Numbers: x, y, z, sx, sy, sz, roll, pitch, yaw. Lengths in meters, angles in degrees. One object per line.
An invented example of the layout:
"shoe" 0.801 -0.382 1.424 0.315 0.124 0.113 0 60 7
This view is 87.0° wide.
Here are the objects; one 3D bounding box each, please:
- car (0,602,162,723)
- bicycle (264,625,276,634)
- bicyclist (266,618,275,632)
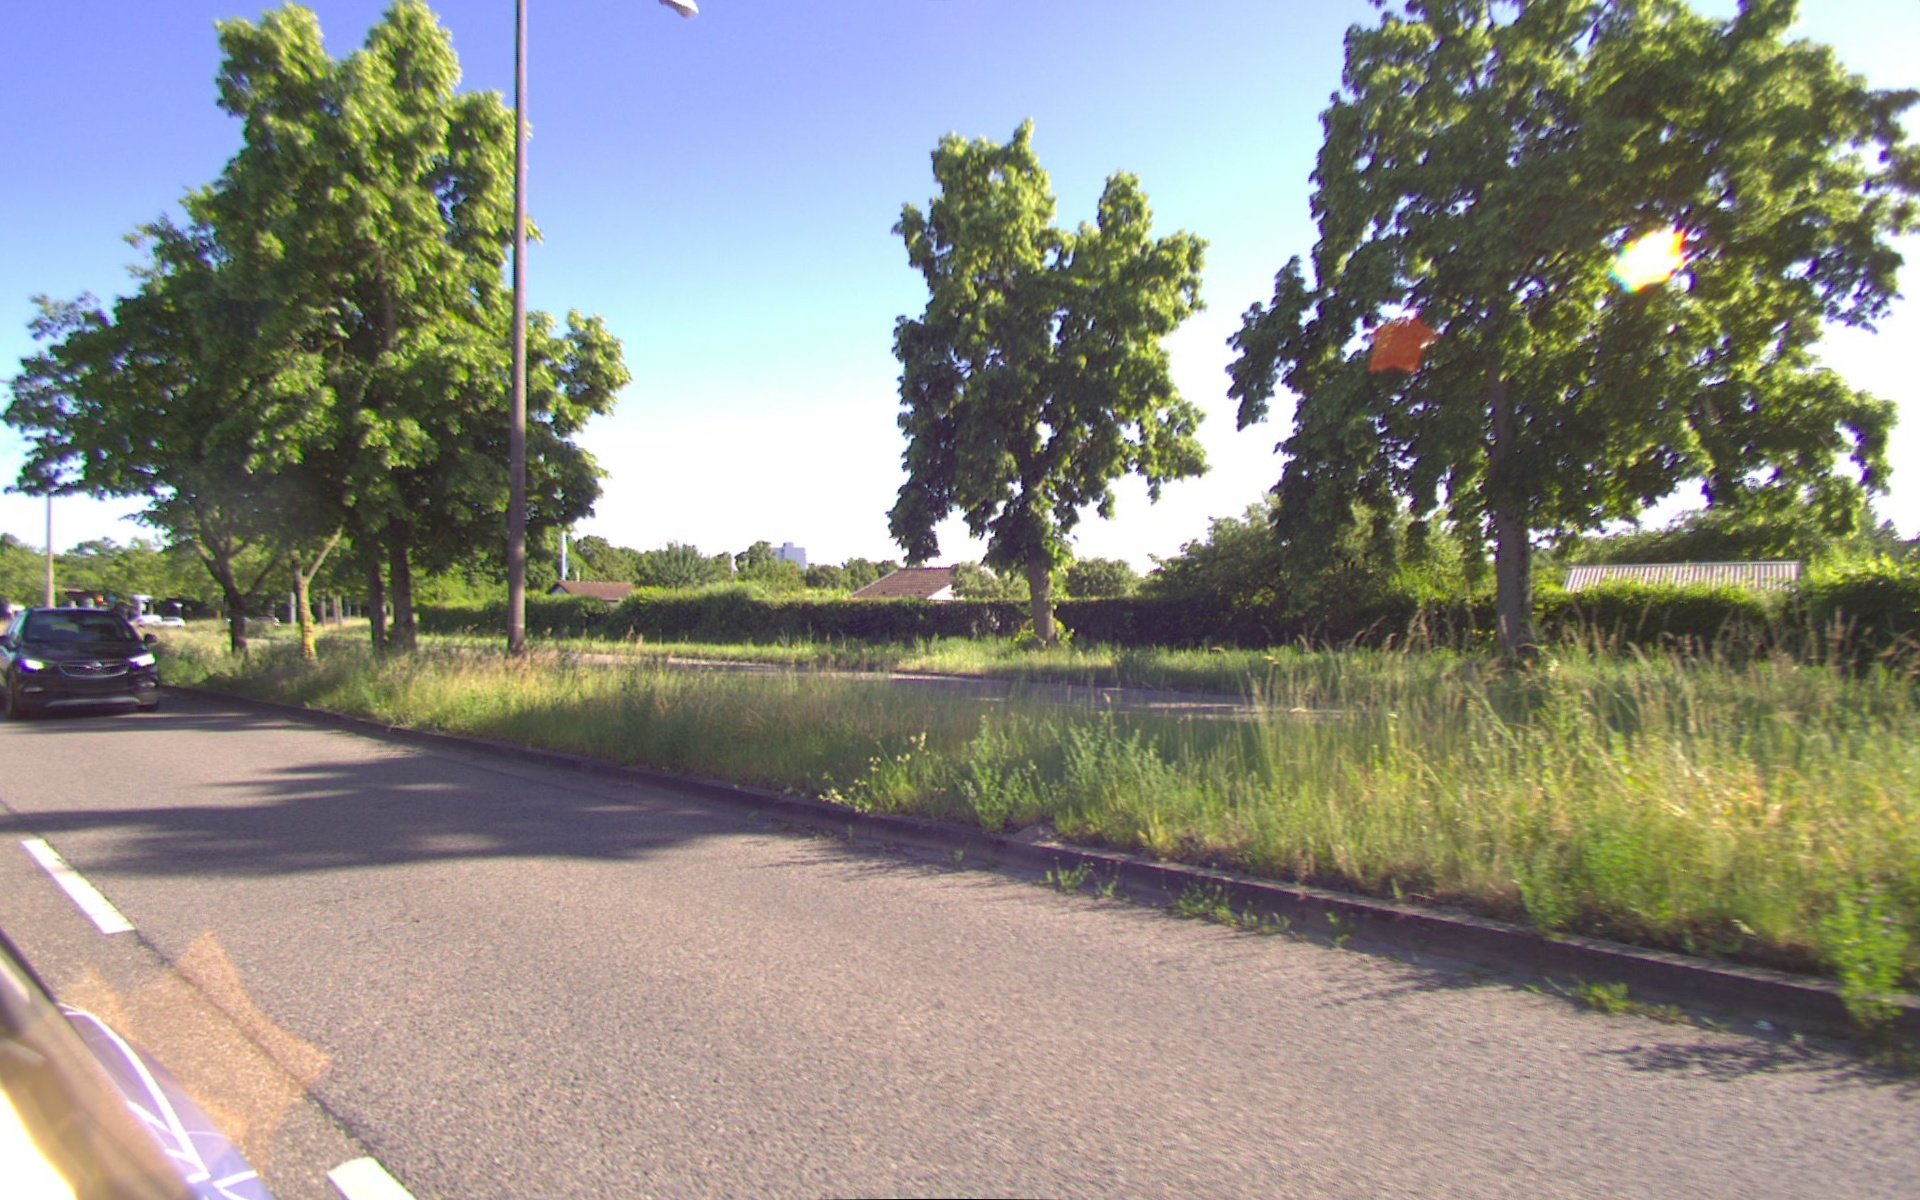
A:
"car" -14.032 0.902 15.876 3.854 1.675 1.691 -1 -2 41
"bicycle" -61.647 2.636 90.407 0.558 0.700 1.877 0 -1 -43
"bicyclist" -61.581 2.210 90.367 0.576 1.266 0.576 0 -1 -44
